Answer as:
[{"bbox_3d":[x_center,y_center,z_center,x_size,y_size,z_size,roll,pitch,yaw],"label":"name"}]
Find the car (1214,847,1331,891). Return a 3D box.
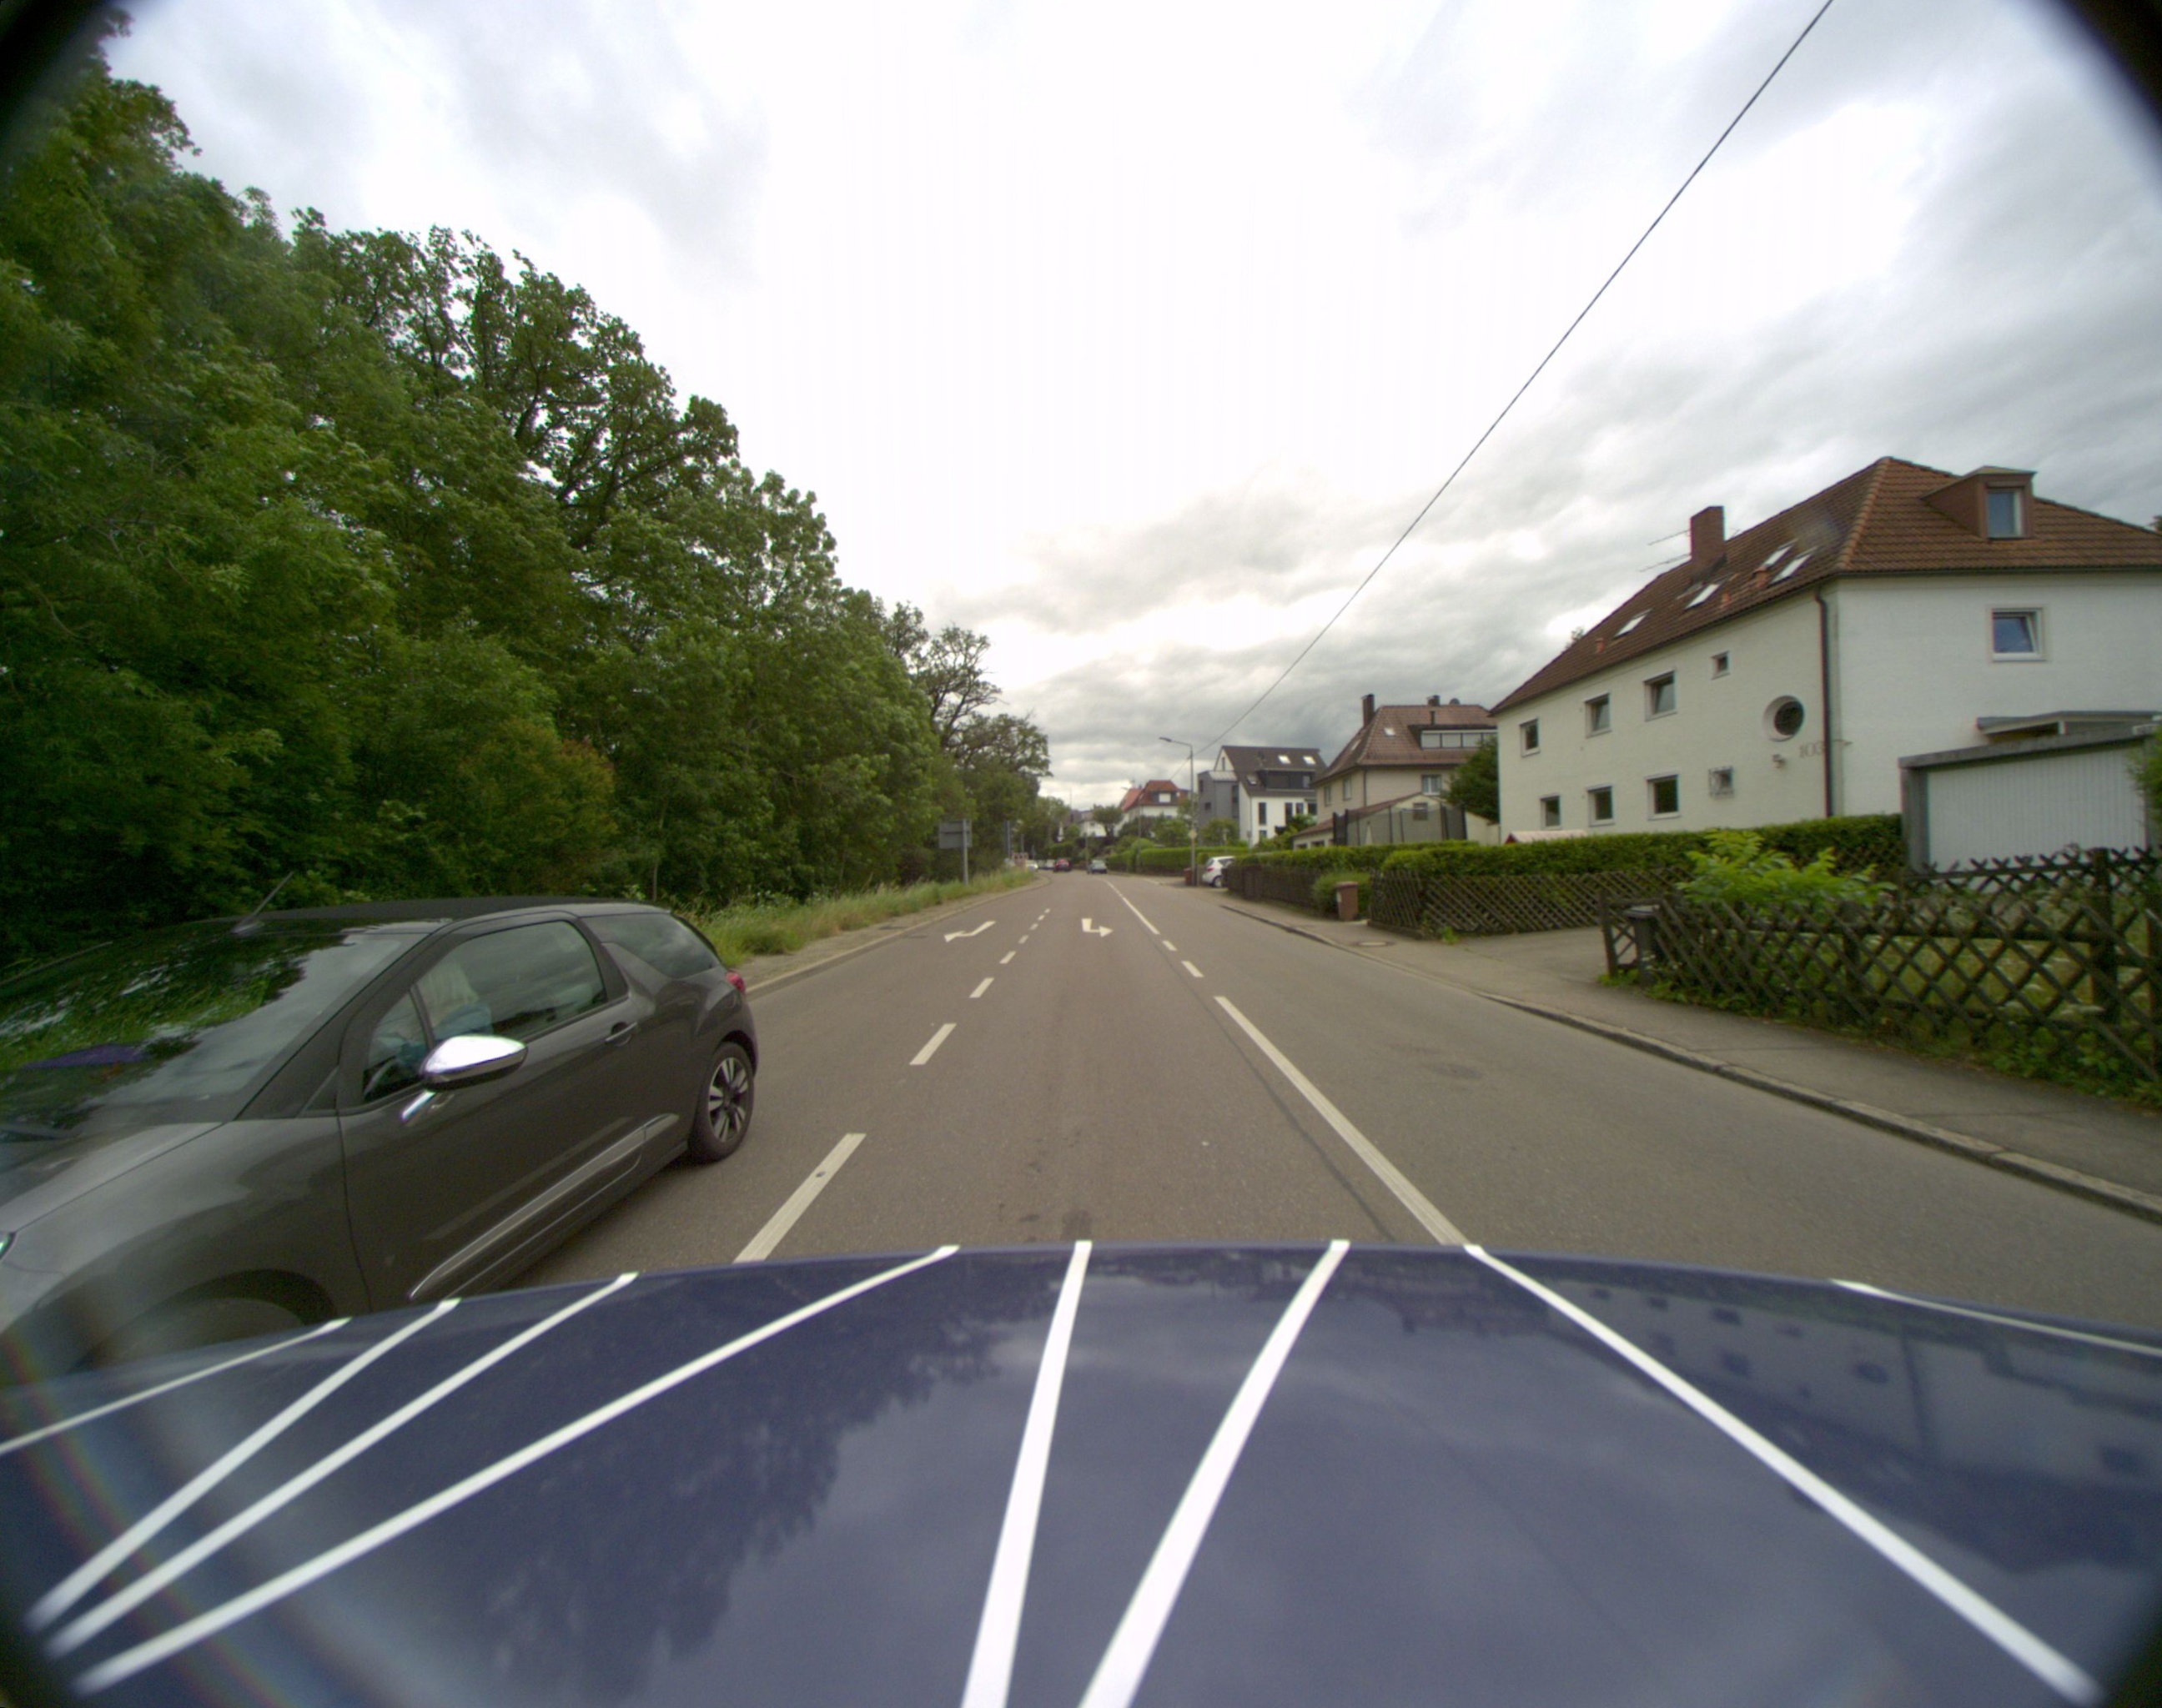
[{"bbox_3d":[8.558,0.664,34.200,4.682,1.660,1.882,-3,0,-1],"label":"car"}]

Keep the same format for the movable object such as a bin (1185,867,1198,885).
[{"bbox_3d":[6.202,1.229,42.727,0.689,0.948,0.572,-1,0,5],"label":"movable object such as a bin"}]

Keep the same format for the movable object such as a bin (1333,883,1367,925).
[{"bbox_3d":[6.220,1.153,17.580,0.634,0.907,0.561,-3,0,10],"label":"movable object such as a bin"}]

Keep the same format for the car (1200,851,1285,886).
[{"bbox_3d":[8.374,0.738,39.645,3.997,1.584,1.718,-3,0,1],"label":"car"}]

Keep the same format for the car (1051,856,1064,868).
[{"bbox_3d":[-3.783,1.262,122.490,1.833,1.665,3.997,-1,1,-7],"label":"car"}]

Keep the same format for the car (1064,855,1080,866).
[{"bbox_3d":[-1.305,0.904,109.134,1.876,1.569,3.997,-1,0,-8],"label":"car"}]

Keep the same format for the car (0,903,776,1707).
[{"bbox_3d":[-2.792,1.052,2.662,1.730,1.449,3.855,-2,0,2],"label":"car"}]

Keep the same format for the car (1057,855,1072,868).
[{"bbox_3d":[-2.190,0.979,99.819,1.818,1.590,3.955,-1,0,-4],"label":"car"}]

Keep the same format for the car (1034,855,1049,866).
[{"bbox_3d":[-6.554,1.071,125.950,2.000,1.749,3.997,-1,0,-9],"label":"car"}]

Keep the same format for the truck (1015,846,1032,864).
[{"bbox_3d":[-12.193,0.226,159.462,3.008,3.618,7.083,-1,0,-8],"label":"truck"}]

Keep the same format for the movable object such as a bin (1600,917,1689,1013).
[{"bbox_3d":[6.012,1.171,8.124,0.551,0.932,0.538,-1,0,2],"label":"movable object such as a bin"}]

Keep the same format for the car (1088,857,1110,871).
[{"bbox_3d":[1.987,1.064,85.098,1.840,1.514,3.997,-1,0,-8],"label":"car"}]
